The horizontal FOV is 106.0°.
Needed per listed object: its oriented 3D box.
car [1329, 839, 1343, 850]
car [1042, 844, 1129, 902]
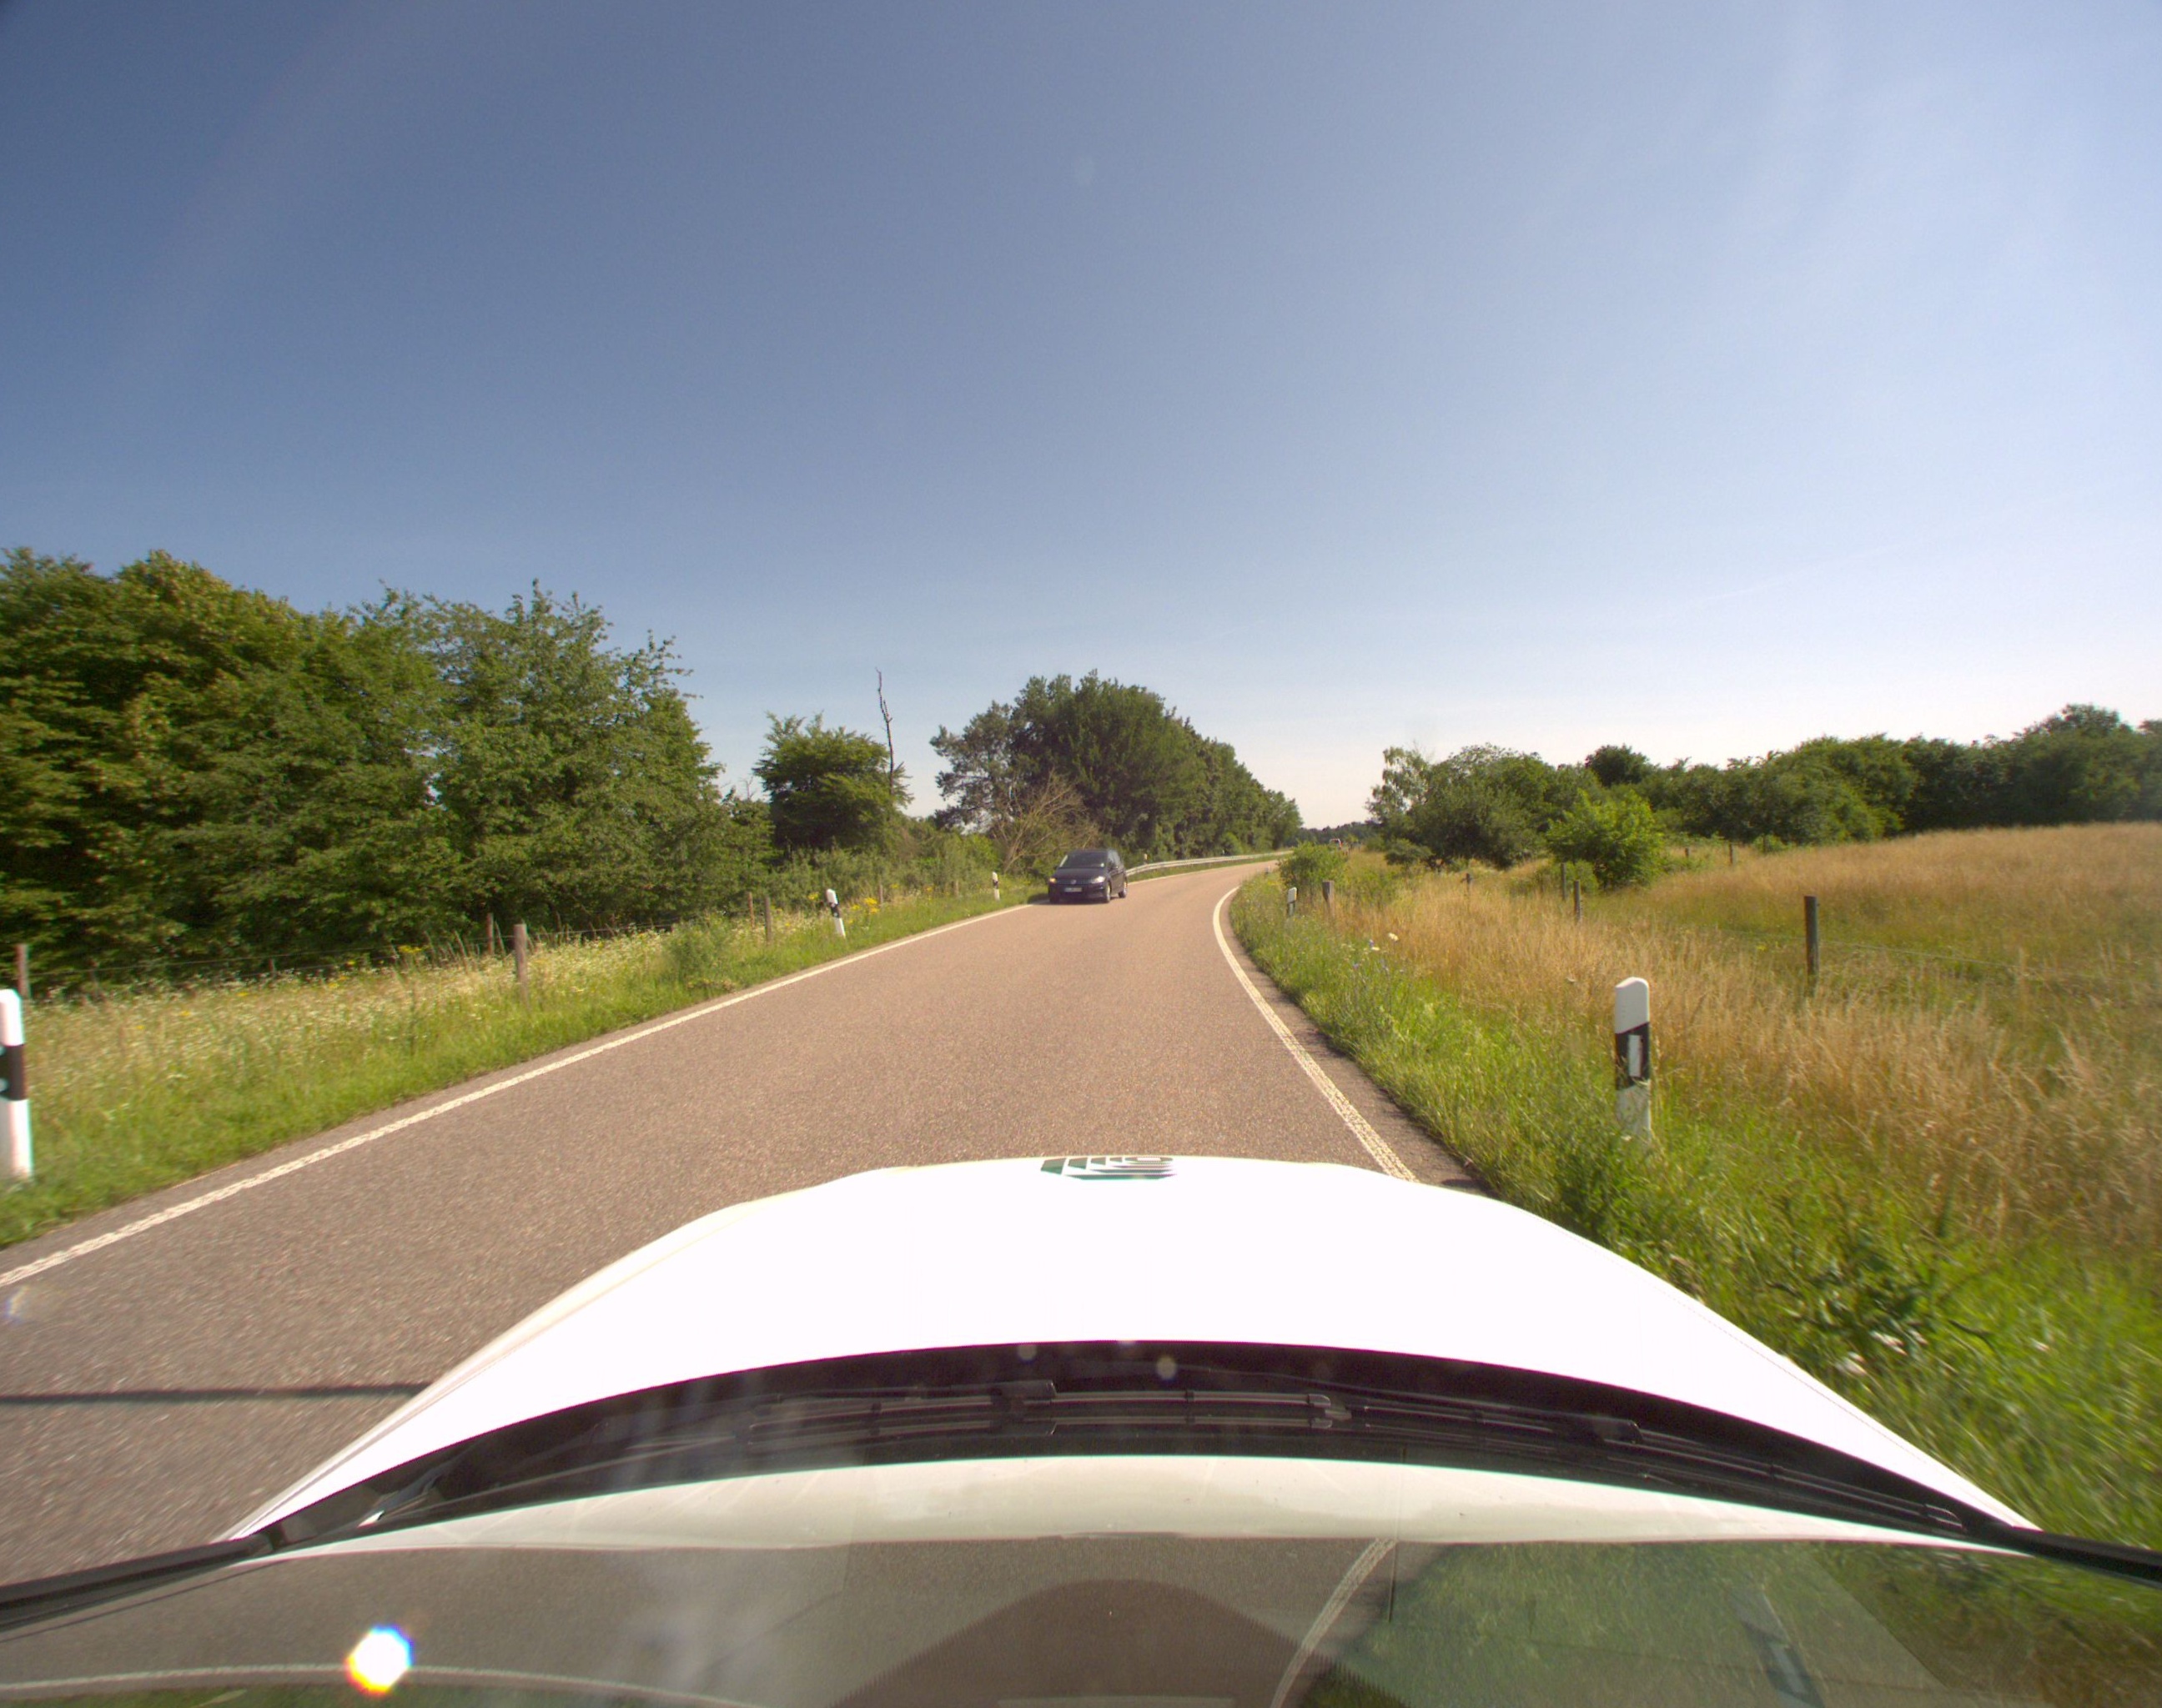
[{"bbox_3d":[42.371,-1.539,135.432,1.945,1.802,4.182,-1,-1,21],"label":"car"},{"bbox_3d":[0.229,0.581,25.358,1.771,1.632,4.176,-1,-1,14],"label":"car"}]
